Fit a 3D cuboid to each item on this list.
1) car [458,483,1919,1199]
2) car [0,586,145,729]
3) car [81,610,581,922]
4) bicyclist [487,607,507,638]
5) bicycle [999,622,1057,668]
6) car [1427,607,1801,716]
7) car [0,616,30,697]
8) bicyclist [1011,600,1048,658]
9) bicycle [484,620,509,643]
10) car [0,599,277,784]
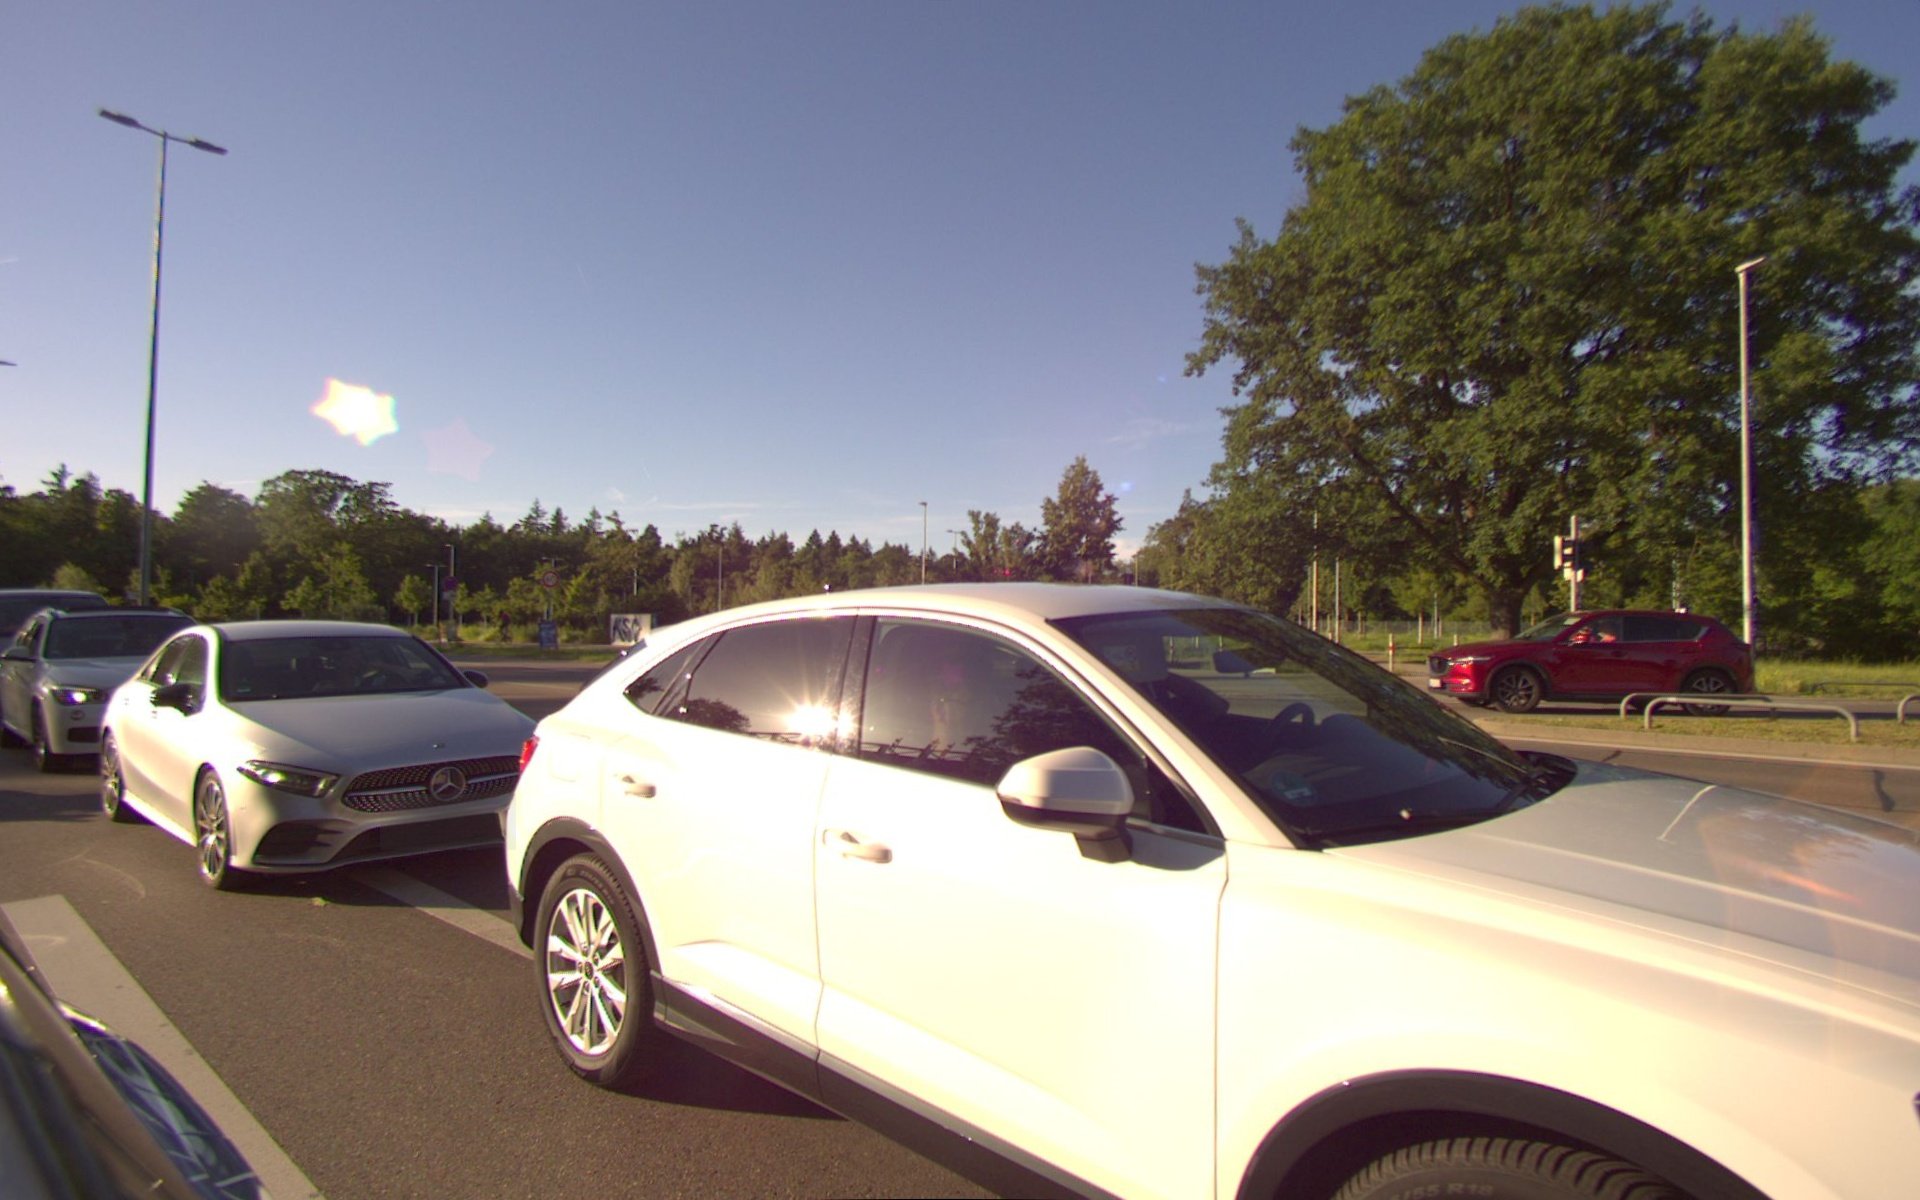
[{"bbox_3d":[0.494,0.666,2.721,4.298,1.524,1.815,-1,-1,41],"label":"car"},{"bbox_3d":[-14.271,0.799,15.467,5.230,1.887,1.861,-1,-1,40],"label":"car"},{"bbox_3d":[-4.374,0.805,6.726,4.316,1.438,1.640,-1,-1,41],"label":"car"},{"bbox_3d":[-21.733,1.068,47.466,0.800,1.424,0.585,-1,0,43],"label":"bicyclist"},{"bbox_3d":[1.914,1.252,28.780,0.487,1.247,1.797,0,0,-42],"label":"bicycle"},{"bbox_3d":[10.098,0.959,15.990,4.517,1.565,1.888,0,-4,7],"label":"car"},{"bbox_3d":[-20.549,1.132,20.708,4.100,1.581,1.714,-1,-1,40],"label":"car"},{"bbox_3d":[1.972,0.805,28.828,0.672,1.623,0.801,0,0,-42],"label":"bicyclist"},{"bbox_3d":[-21.800,1.470,47.563,1.361,1.027,0.576,-1,0,42],"label":"bicycle"},{"bbox_3d":[-8.981,0.823,10.810,4.319,1.595,1.774,-1,-1,41],"label":"car"}]
